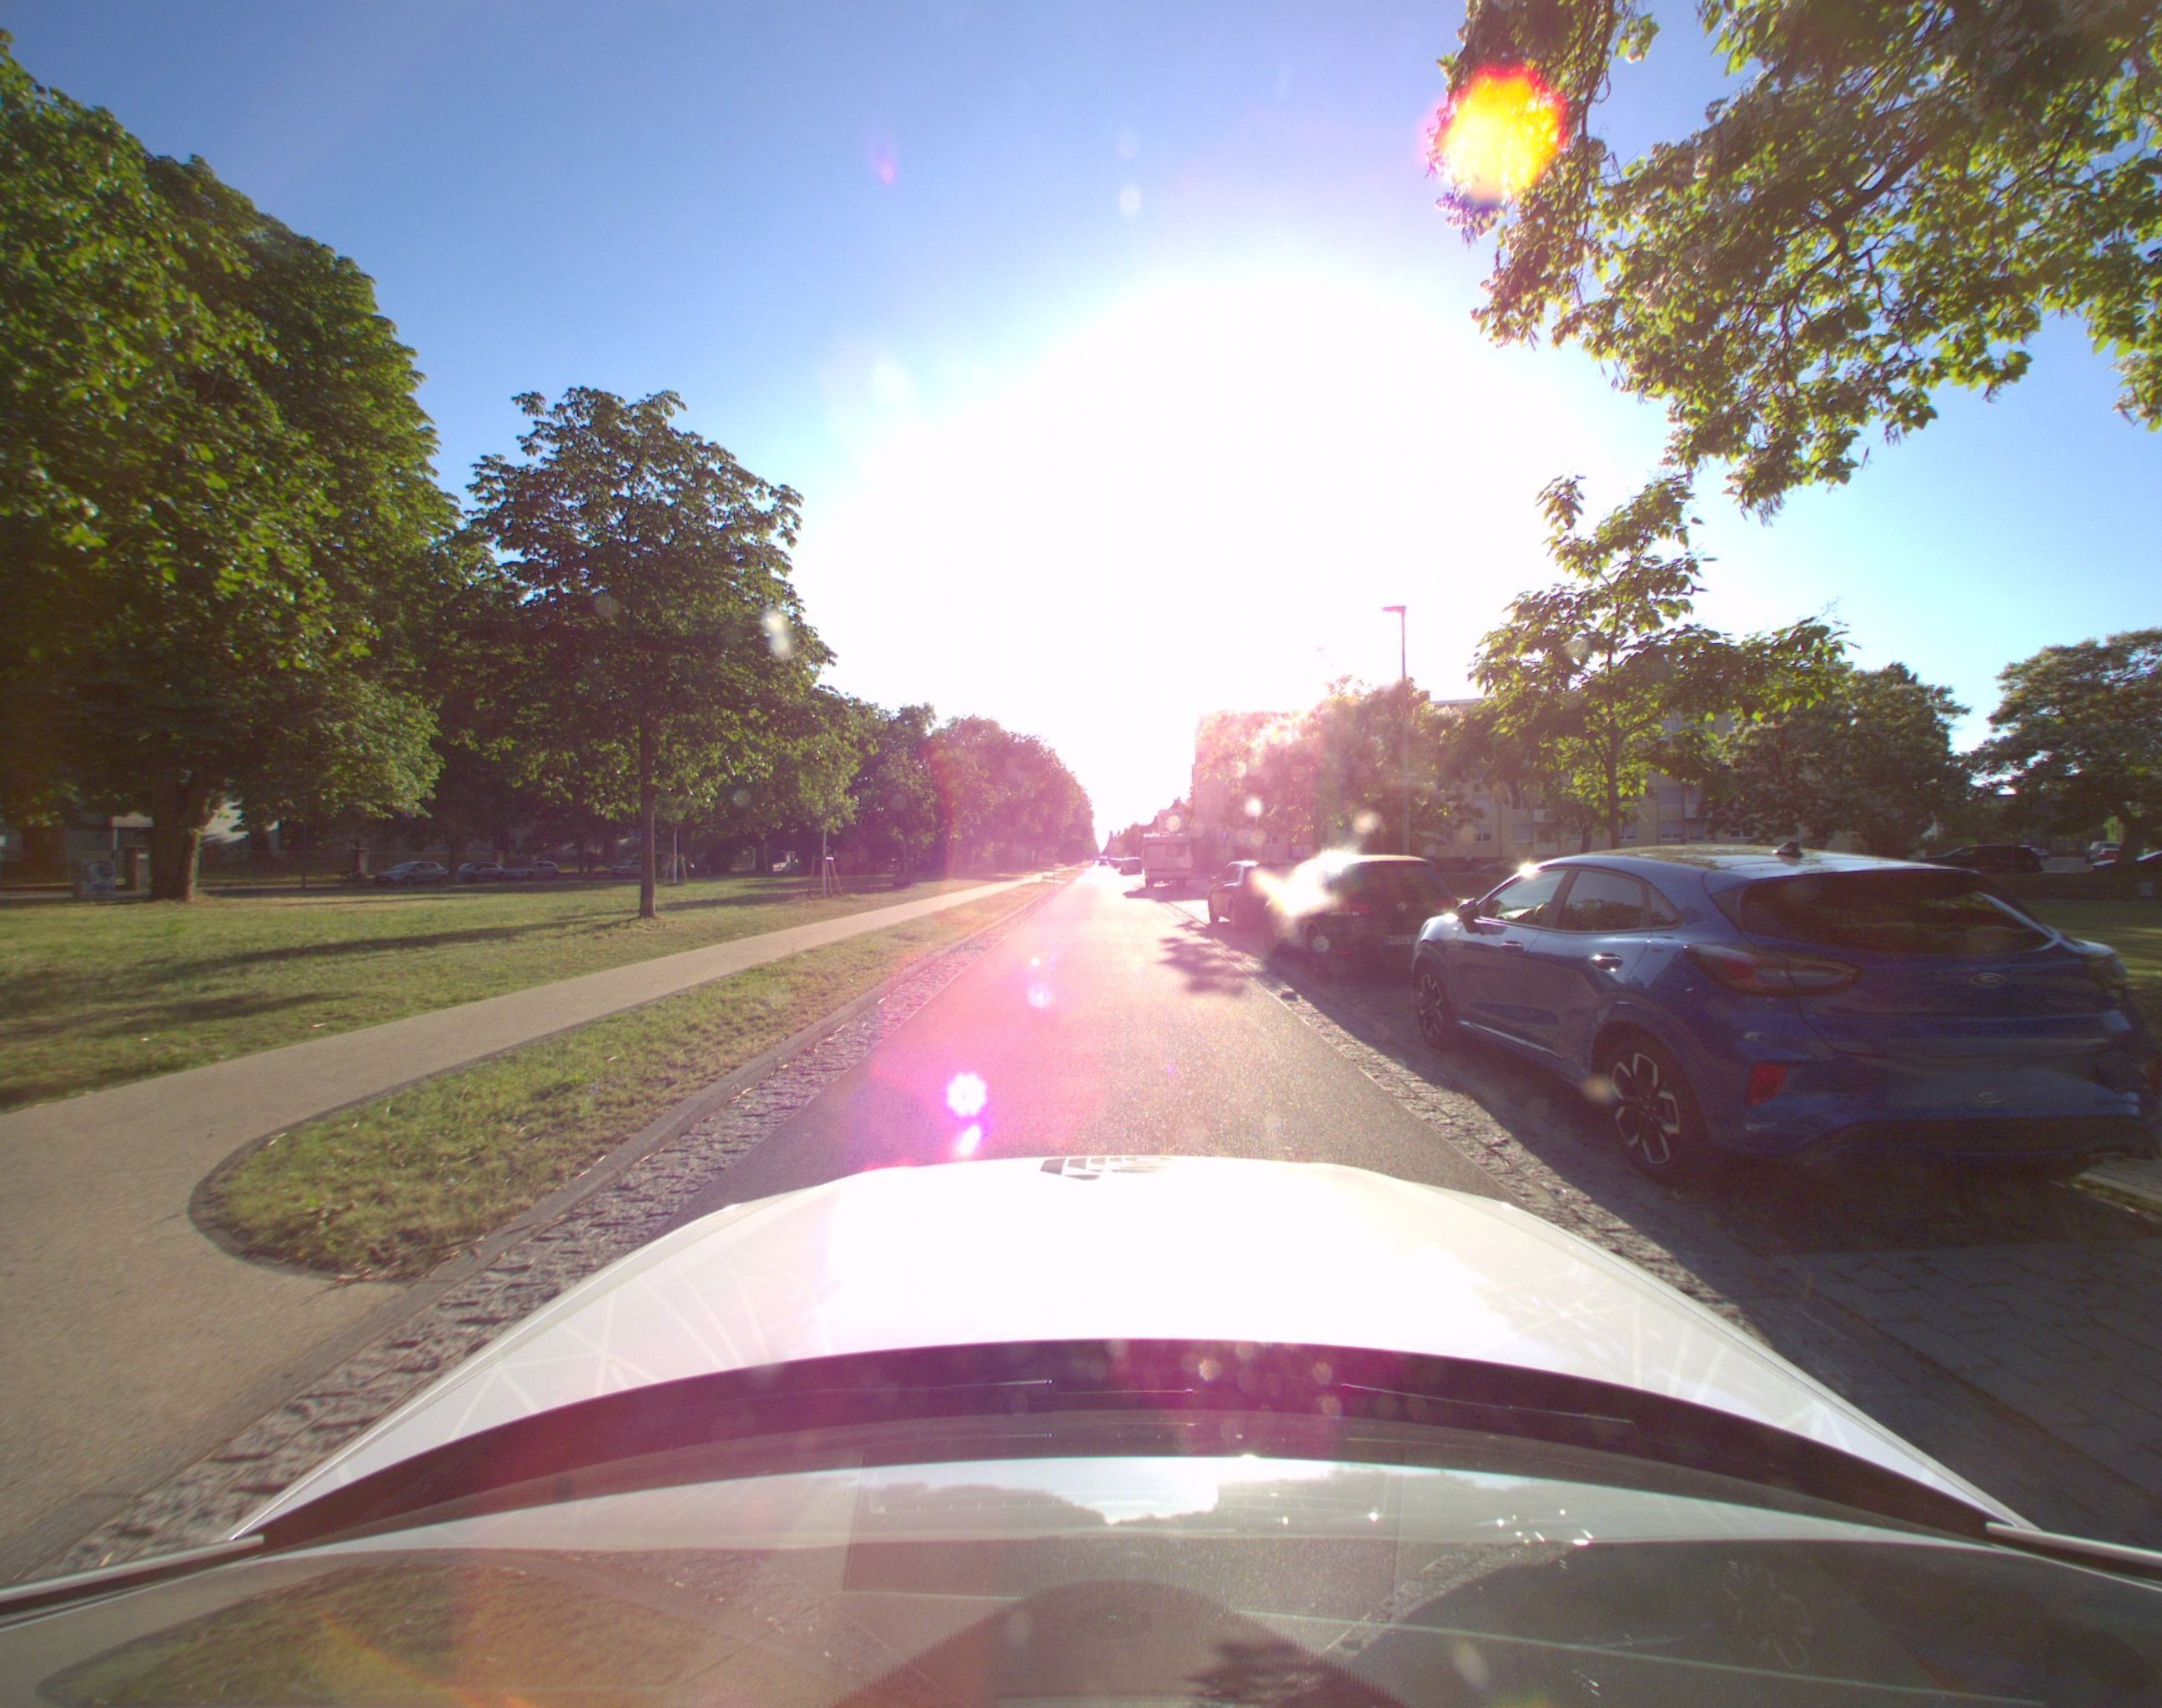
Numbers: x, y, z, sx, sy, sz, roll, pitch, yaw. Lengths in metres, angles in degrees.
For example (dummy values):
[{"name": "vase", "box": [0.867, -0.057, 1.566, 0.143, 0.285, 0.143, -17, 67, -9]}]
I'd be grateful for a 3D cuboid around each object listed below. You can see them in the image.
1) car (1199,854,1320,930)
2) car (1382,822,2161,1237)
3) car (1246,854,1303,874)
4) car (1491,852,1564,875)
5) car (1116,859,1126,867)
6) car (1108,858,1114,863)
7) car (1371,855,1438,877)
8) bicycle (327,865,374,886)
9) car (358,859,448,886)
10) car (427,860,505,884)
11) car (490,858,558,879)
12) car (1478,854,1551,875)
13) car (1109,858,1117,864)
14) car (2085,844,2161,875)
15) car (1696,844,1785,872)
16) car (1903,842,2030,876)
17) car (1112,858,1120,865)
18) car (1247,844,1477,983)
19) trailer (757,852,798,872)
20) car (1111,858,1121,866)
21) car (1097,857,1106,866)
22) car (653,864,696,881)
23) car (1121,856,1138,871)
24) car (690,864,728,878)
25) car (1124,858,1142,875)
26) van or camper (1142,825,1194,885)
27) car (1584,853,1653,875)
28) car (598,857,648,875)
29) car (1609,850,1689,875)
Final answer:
[{"name": "car", "box": [3.799, 0.768, 18.052, 1.622, 1.464, 4.246, -1, -1, -2]}, {"name": "car", "box": [3.507, 0.689, 5.216, 1.725, 1.551, 4.278, -1, -1, 2]}, {"name": "car", "box": [15.274, 0.788, 64.476, 4.174, 1.530, 2.003, -1, -1, 5]}, {"name": "car", "box": [32.873, 0.723, 60.084, 4.473, 1.569, 1.890, -1, -1, 20]}, {"name": "car", "box": [6.698, 1.540, 137.437, 1.620, 1.410, 4.250, -1, -1, 1]}, {"name": "car", "box": [8.614, 2.036, 237.392, 1.620, 1.410, 4.250, -1, -1, 1]}, {"name": "car", "box": [22.555, 0.860, 56.898, 4.162, 1.463, 1.700, -1, -1, 16]}, {"name": "bicycle", "box": [-42.546, 1.259, 47.450, 0.655, 1.175, 2.332, -1, -1, -1]}, {"name": "car", "box": [-40.827, 1.093, 49.185, 1.986, 1.508, 4.002, -1, -1, 2]}, {"name": "car", "box": [-40.659, 1.180, 53.969, 1.986, 1.508, 4.002, -1, -1, 2]}, {"name": "car", "box": [-40.427, 1.039, 59.204, 1.986, 1.508, 4.117, -1, -1, 2]}, {"name": "car", "box": [29.178, 0.734, 54.890, 4.158, 1.357, 1.702, -1, -1, 22]}, {"name": "car", "box": [7.225, 1.656, 185.367, 1.620, 1.410, 4.250, -1, -1, 1]}, {"name": "car", "box": [51.609, 0.271, 39.035, 1.889, 1.453, 4.319, 0, -1, -36]}, {"name": "car", "box": [43.610, 0.286, 53.999, 4.467, 1.746, 1.892, -1, -1, 36]}, {"name": "car", "box": [46.993, 0.290, 43.369, 4.469, 1.746, 1.891, -2, -1, 45]}, {"name": "car", "box": [7.212, 1.522, 168.570, 1.620, 1.410, 4.250, -1, -1, 1]}, {"name": "car", "box": [3.640, 0.697, 11.469, 1.726, 1.551, 4.422, -1, -1, 0]}, {"name": "trailer", "box": [-39.008, 0.996, 104.891, 2.449, 2.489, 7.053, -1, -1, 2]}, {"name": "car", "box": [6.388, 1.386, 149.082, 1.620, 1.410, 4.250, -1, -1, 1]}, {"name": "car", "box": [4.184, 1.538, 168.939, 1.819, 1.669, 4.250, -1, -1, 1]}, {"name": "car", "box": [-39.569, 1.795, 79.453, 1.986, 1.508, 4.117, -1, -1, 2]}, {"name": "car", "box": [5.674, 1.129, 95.063, 1.984, 1.717, 4.004, -1, -1, 4]}, {"name": "car", "box": [-39.473, 1.789, 86.439, 1.986, 1.508, 4.117, -1, -1, 2]}, {"name": "car", "box": [5.317, 1.255, 84.060, 1.620, 1.669, 4.250, -1, -1, 1]}, {"name": "van or camper", "box": [4.484, 0.139, 42.788, 2.226, 2.904, 5.673, -1, -2, 1]}, {"name": "car", "box": [37.766, 0.723, 57.346, 3.949, 1.453, 1.892, -1, -1, 29]}, {"name": "car", "box": [-40.064, 1.043, 71.360, 1.986, 1.508, 4.117, -1, -1, 2]}, {"name": "car", "box": [35.865, 0.543, 51.544, 3.949, 1.552, 1.620, -1, -1, 29]}]
